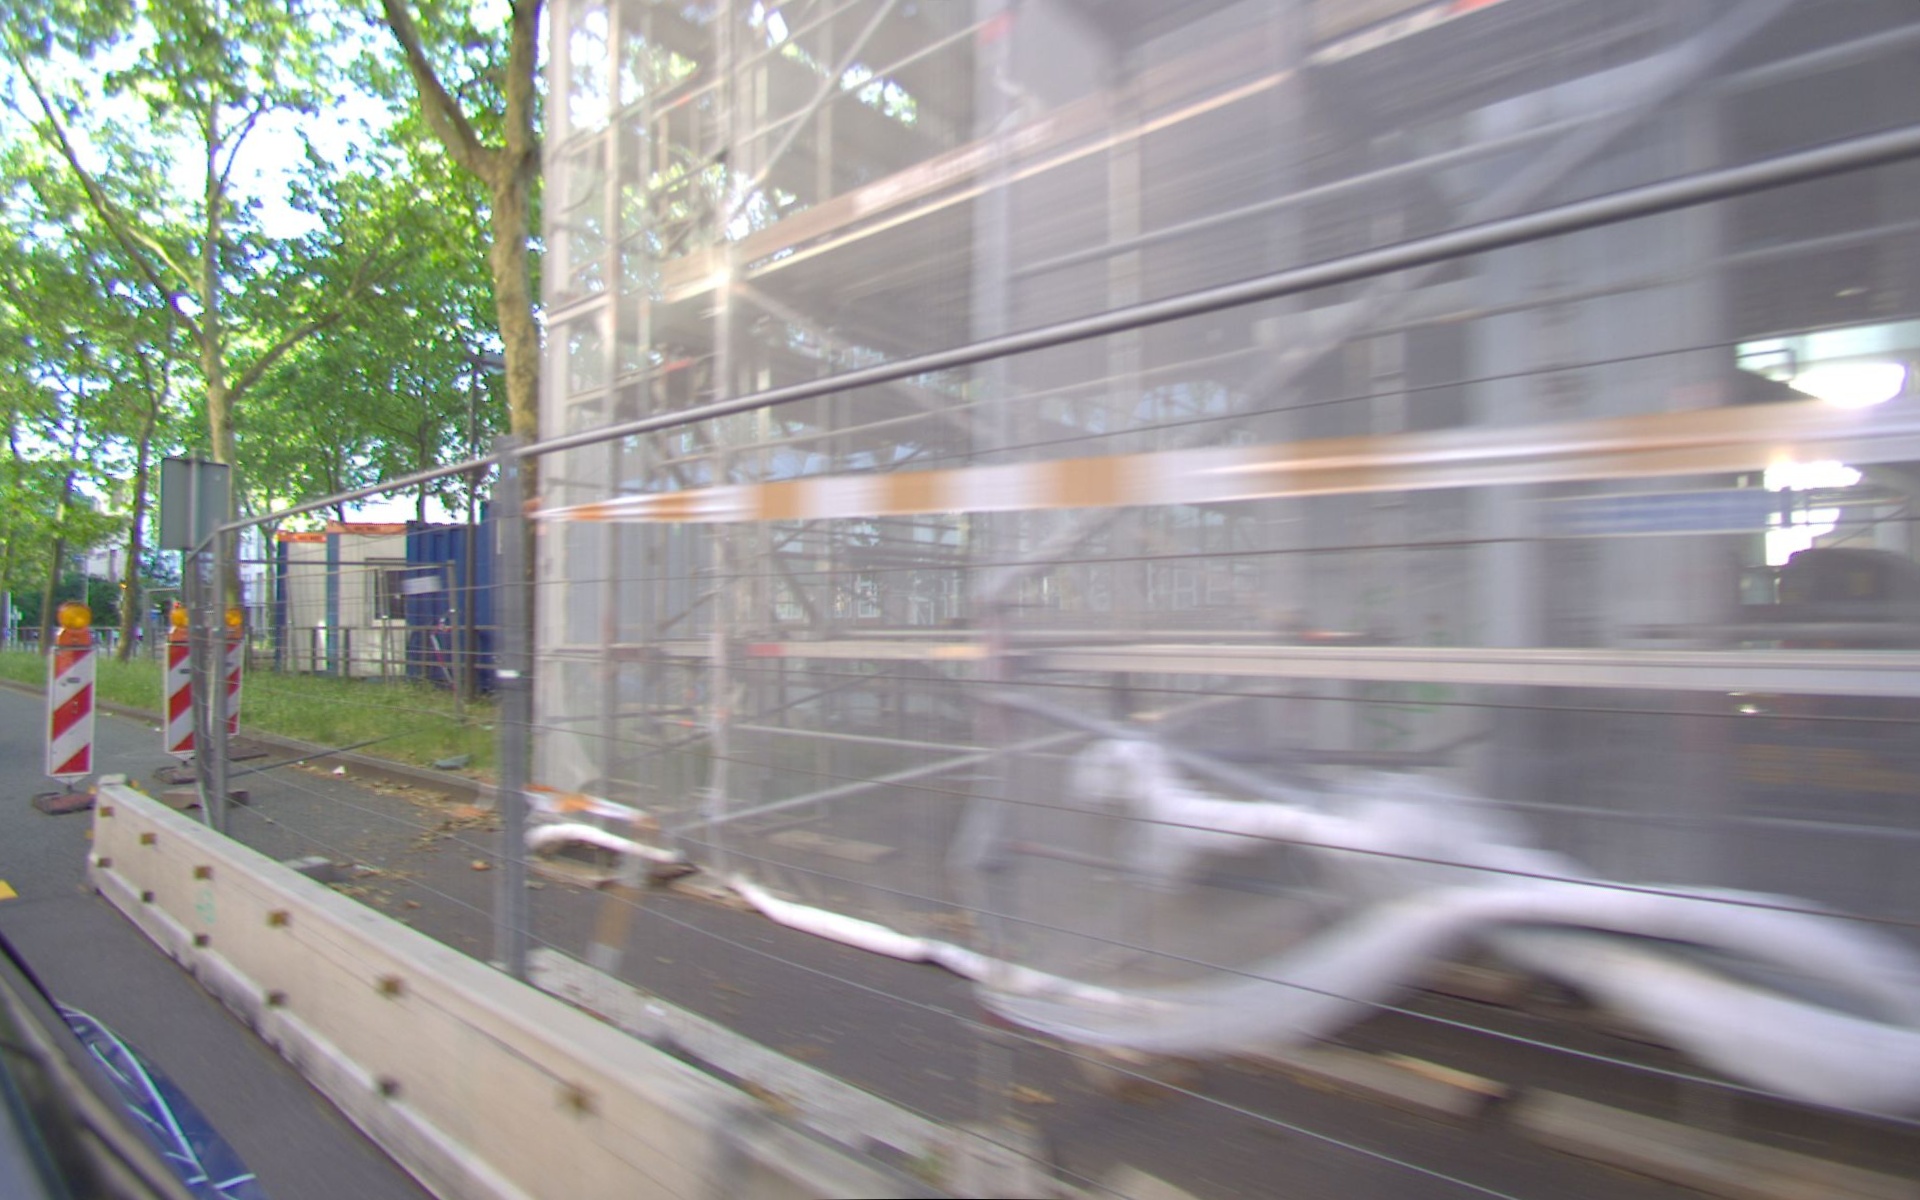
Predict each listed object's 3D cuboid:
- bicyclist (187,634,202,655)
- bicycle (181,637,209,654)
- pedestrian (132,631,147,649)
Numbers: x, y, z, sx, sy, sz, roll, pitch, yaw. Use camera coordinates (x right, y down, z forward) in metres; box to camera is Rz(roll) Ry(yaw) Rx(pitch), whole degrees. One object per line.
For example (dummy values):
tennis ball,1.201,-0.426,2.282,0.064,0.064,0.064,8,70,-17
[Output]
bicyclist,-62.938,3.642,83.239,0.661,1.661,0.717,-1,0,9
bicycle,-62.910,3.737,83.240,1.798,1.271,0.772,-1,0,9
pedestrian,-75.624,3.680,93.241,0.876,1.613,0.992,-1,0,45
